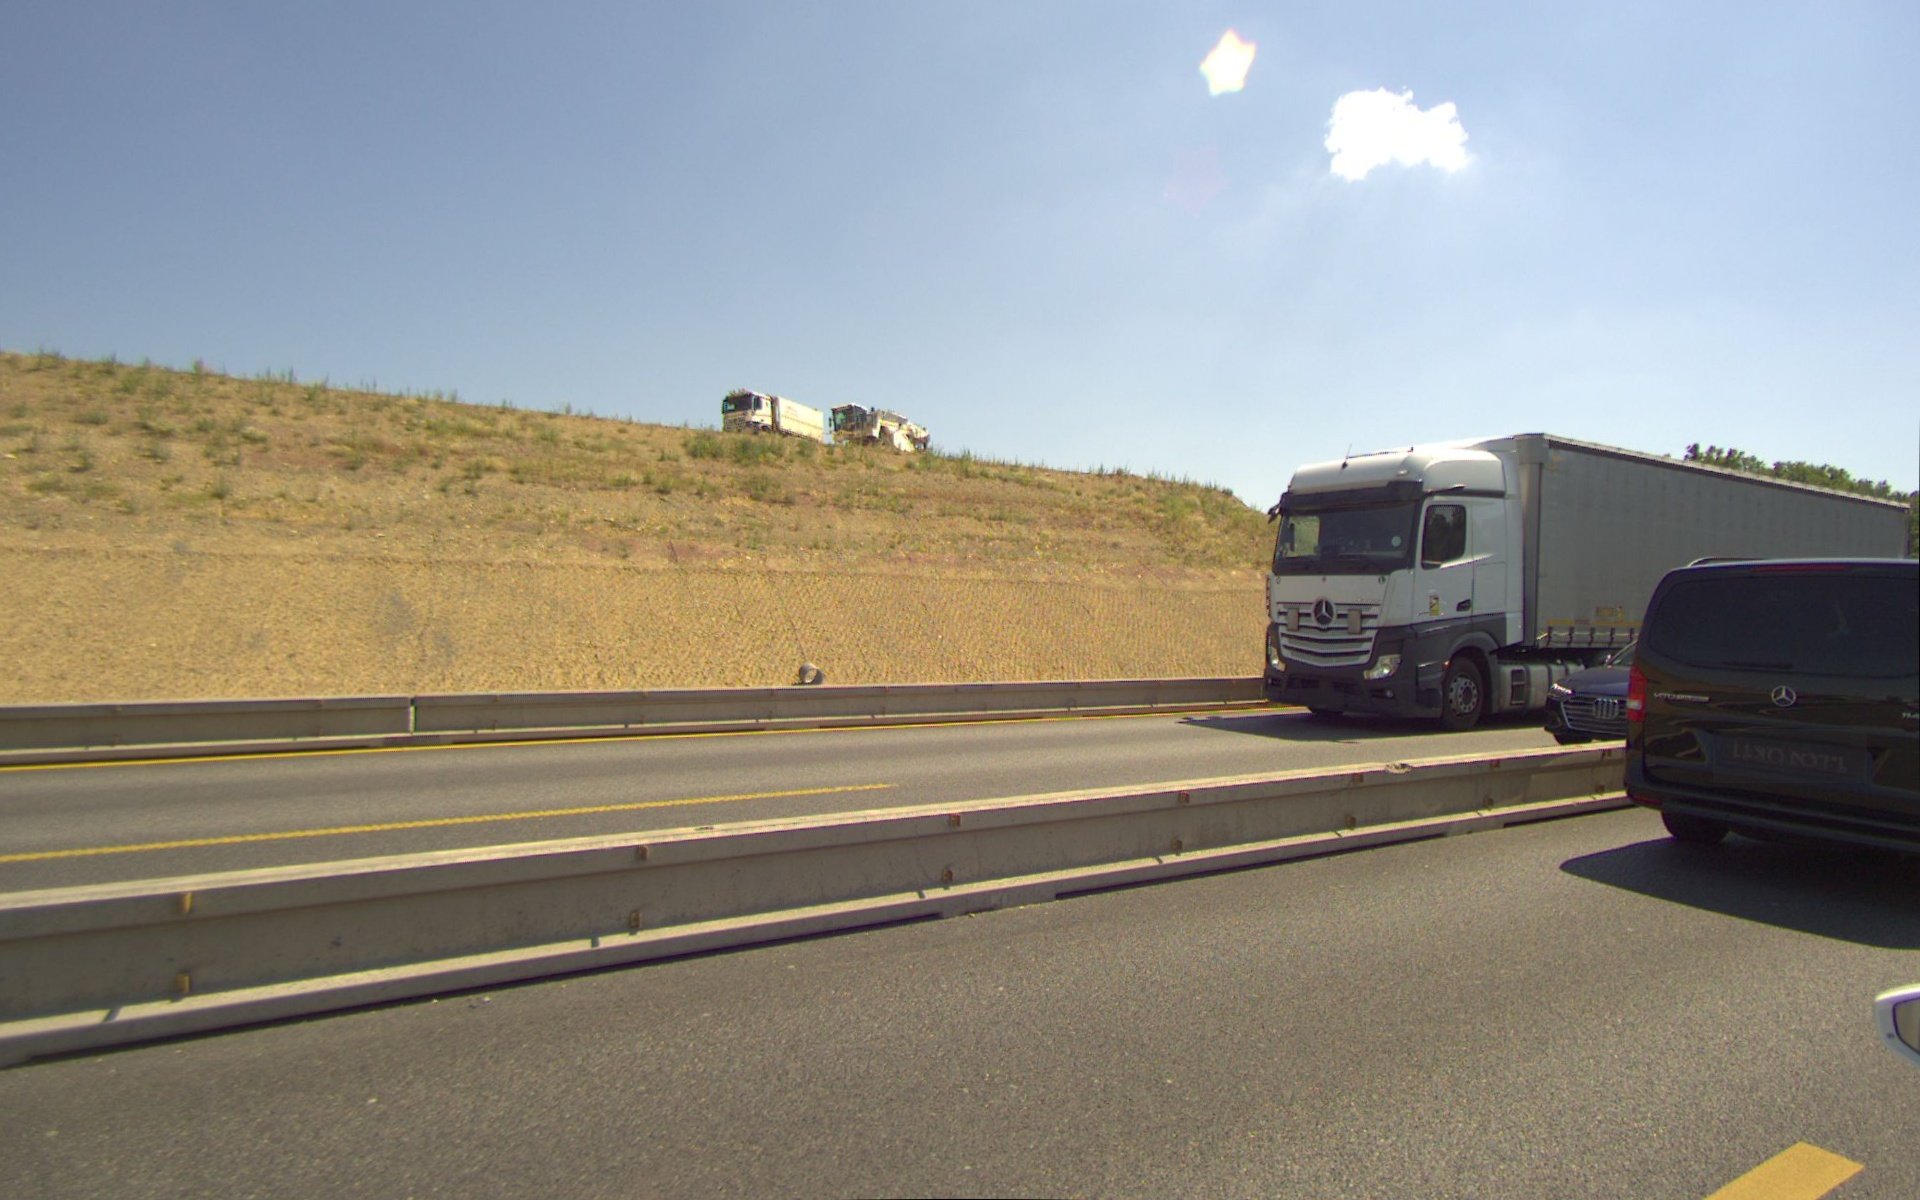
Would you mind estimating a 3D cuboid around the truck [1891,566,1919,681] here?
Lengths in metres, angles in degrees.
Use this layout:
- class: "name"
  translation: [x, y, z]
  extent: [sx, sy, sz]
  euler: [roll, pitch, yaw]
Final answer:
- class: "truck"
  translation: [28.359, 0.745, 27.792]
  extent: [5.003, 3.099, 2.387]
  euler: [3, 0, -30]

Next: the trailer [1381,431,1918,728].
- class: "trailer"
  translation: [13.412, -0.149, 18.652]
  extent: [13.553, 4.130, 2.776]
  euler: [2, 0, -31]

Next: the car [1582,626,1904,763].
- class: "car"
  translation: [9.889, 1.118, 12.599]
  extent: [4.434, 1.405, 1.718]
  euler: [3, 0, -31]

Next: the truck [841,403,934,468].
- class: "truck"
  translation: [-4.777, -11.059, 68.276]
  extent: [2.258, 2.785, 8.901]
  euler: [2, -1, 24]

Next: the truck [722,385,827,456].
- class: "truck"
  translation: [-11.887, -11.521, 65.308]
  extent: [2.317, 2.937, 8.362]
  euler: [2, -1, 24]

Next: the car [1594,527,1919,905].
- class: "car"
  translation: [6.811, 0.645, 6.898]
  extent: [5.415, 1.876, 1.865]
  euler: [2, 0, -31]

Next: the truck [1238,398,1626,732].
- class: "truck"
  translation: [6.924, -0.348, 14.736]
  extent: [4.885, 4.097, 2.756]
  euler: [3, 0, -30]
